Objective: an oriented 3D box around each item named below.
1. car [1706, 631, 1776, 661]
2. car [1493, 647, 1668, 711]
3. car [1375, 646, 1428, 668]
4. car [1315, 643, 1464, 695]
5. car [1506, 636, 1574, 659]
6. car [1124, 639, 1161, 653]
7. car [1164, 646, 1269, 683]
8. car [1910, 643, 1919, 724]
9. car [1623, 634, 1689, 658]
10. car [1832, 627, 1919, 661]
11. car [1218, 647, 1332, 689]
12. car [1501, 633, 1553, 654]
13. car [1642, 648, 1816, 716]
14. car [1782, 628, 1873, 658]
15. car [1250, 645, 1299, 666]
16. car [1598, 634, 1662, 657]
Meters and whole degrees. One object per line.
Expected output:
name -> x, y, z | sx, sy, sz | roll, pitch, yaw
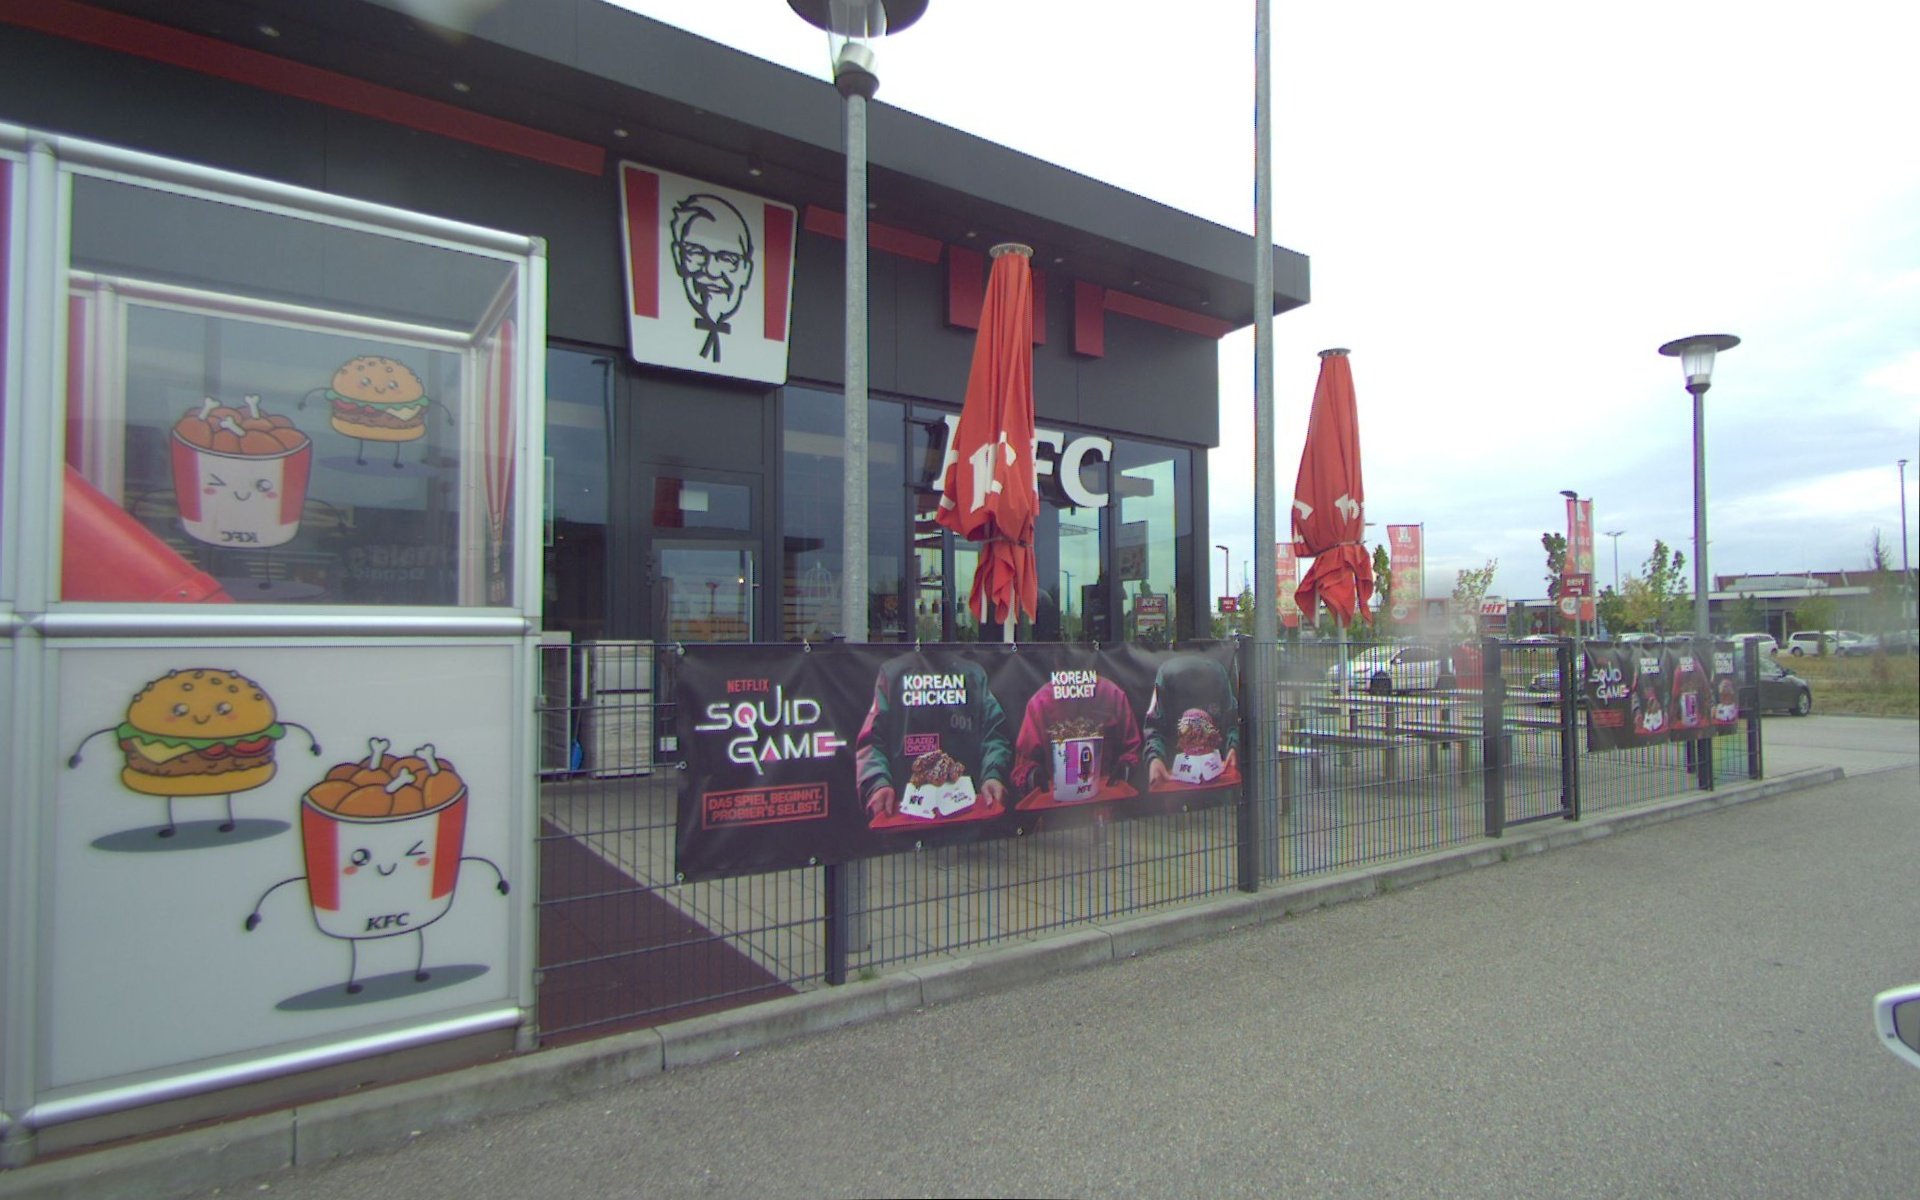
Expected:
car -> 50.248, 2.947, 64.614 | 4.266, 1.795, 1.986 | -1, -2, -28
car -> 15.945, 2.024, 25.745 | 4.688, 1.475, 1.896 | 3, -3, -31
car -> 29.769, 3.804, 67.828 | 1.408, 1.388, 3.450 | -1, -2, -14
car -> 13.909, 2.235, 32.518 | 4.483, 1.561, 1.915 | 3, -3, -24
car -> 43.689, 3.582, 75.728 | 4.085, 1.560, 1.997 | -1, -2, -10
car -> 17.844, 4.491, 98.345 | 1.740, 1.413, 4.204 | 0, -2, -18
car -> 10.660, 2.672, 41.849 | 3.878, 1.430, 1.833 | 3, -3, -19
car -> 19.975, 1.625, 18.888 | 4.465, 1.485, 1.932 | 3, -3, -31
car -> 48.472, 3.185, 69.984 | 3.992, 1.560, 1.764 | -1, -2, -20
car -> 52.398, 2.514, 57.502 | 4.255, 1.795, 1.923 | -1, -2, -20
car -> 11.586, 2.502, 36.959 | 3.753, 1.430, 1.730 | 3, -3, -22
car -> 46.312, 3.571, 82.000 | 3.709, 1.560, 1.763 | -1, -2, -23
car -> 17.858, 1.890, 23.296 | 4.024, 1.430, 1.873 | 3, -3, -31
car -> 55.376, 2.761, 64.216 | 1.966, 1.795, 3.989 | -1, -2, -15
car -> 24.386, 4.300, 78.005 | 1.798, 1.479, 3.991 | -1, -2, -13
car -> 48.233, 3.267, 72.343 | 3.992, 1.560, 1.764 | -1, -2, -20
